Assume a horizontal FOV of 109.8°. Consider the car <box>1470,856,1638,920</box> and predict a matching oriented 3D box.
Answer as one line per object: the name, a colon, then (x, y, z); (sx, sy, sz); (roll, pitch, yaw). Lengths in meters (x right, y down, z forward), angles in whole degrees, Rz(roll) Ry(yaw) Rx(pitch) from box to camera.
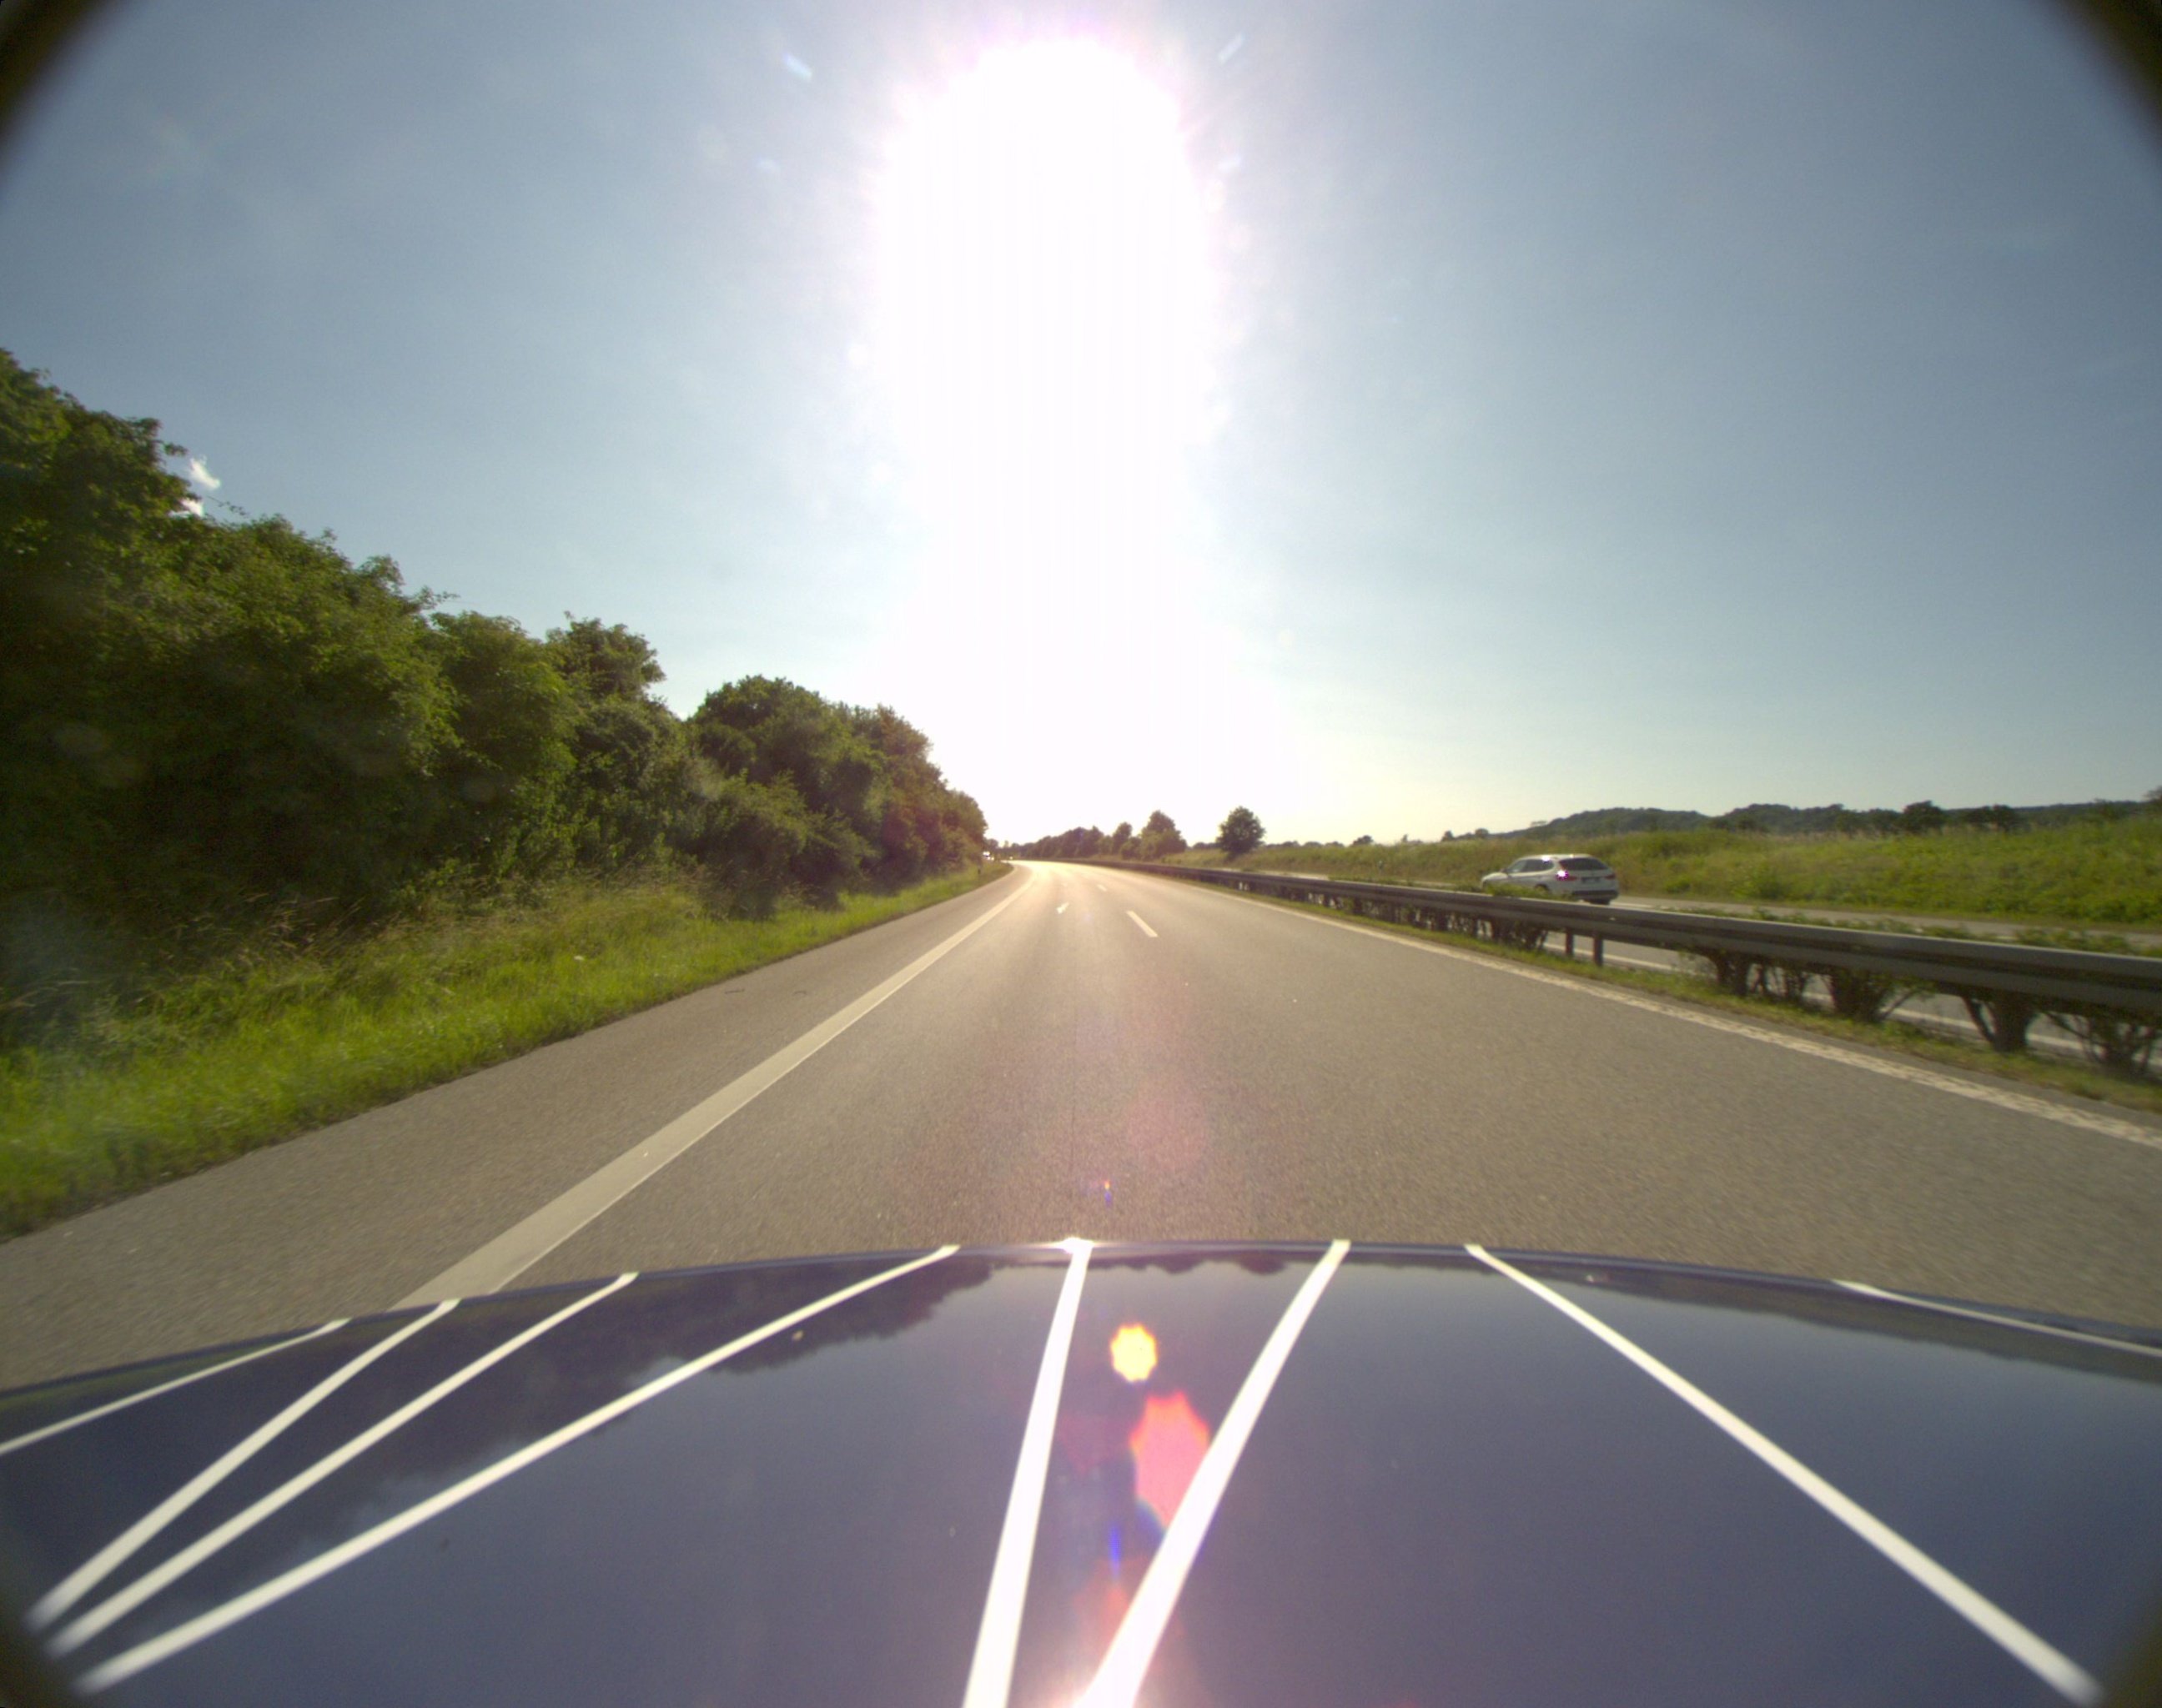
car: (13.717, 0.893, 22.479); (1.770, 1.613, 5.008); (2, 0, 0)
